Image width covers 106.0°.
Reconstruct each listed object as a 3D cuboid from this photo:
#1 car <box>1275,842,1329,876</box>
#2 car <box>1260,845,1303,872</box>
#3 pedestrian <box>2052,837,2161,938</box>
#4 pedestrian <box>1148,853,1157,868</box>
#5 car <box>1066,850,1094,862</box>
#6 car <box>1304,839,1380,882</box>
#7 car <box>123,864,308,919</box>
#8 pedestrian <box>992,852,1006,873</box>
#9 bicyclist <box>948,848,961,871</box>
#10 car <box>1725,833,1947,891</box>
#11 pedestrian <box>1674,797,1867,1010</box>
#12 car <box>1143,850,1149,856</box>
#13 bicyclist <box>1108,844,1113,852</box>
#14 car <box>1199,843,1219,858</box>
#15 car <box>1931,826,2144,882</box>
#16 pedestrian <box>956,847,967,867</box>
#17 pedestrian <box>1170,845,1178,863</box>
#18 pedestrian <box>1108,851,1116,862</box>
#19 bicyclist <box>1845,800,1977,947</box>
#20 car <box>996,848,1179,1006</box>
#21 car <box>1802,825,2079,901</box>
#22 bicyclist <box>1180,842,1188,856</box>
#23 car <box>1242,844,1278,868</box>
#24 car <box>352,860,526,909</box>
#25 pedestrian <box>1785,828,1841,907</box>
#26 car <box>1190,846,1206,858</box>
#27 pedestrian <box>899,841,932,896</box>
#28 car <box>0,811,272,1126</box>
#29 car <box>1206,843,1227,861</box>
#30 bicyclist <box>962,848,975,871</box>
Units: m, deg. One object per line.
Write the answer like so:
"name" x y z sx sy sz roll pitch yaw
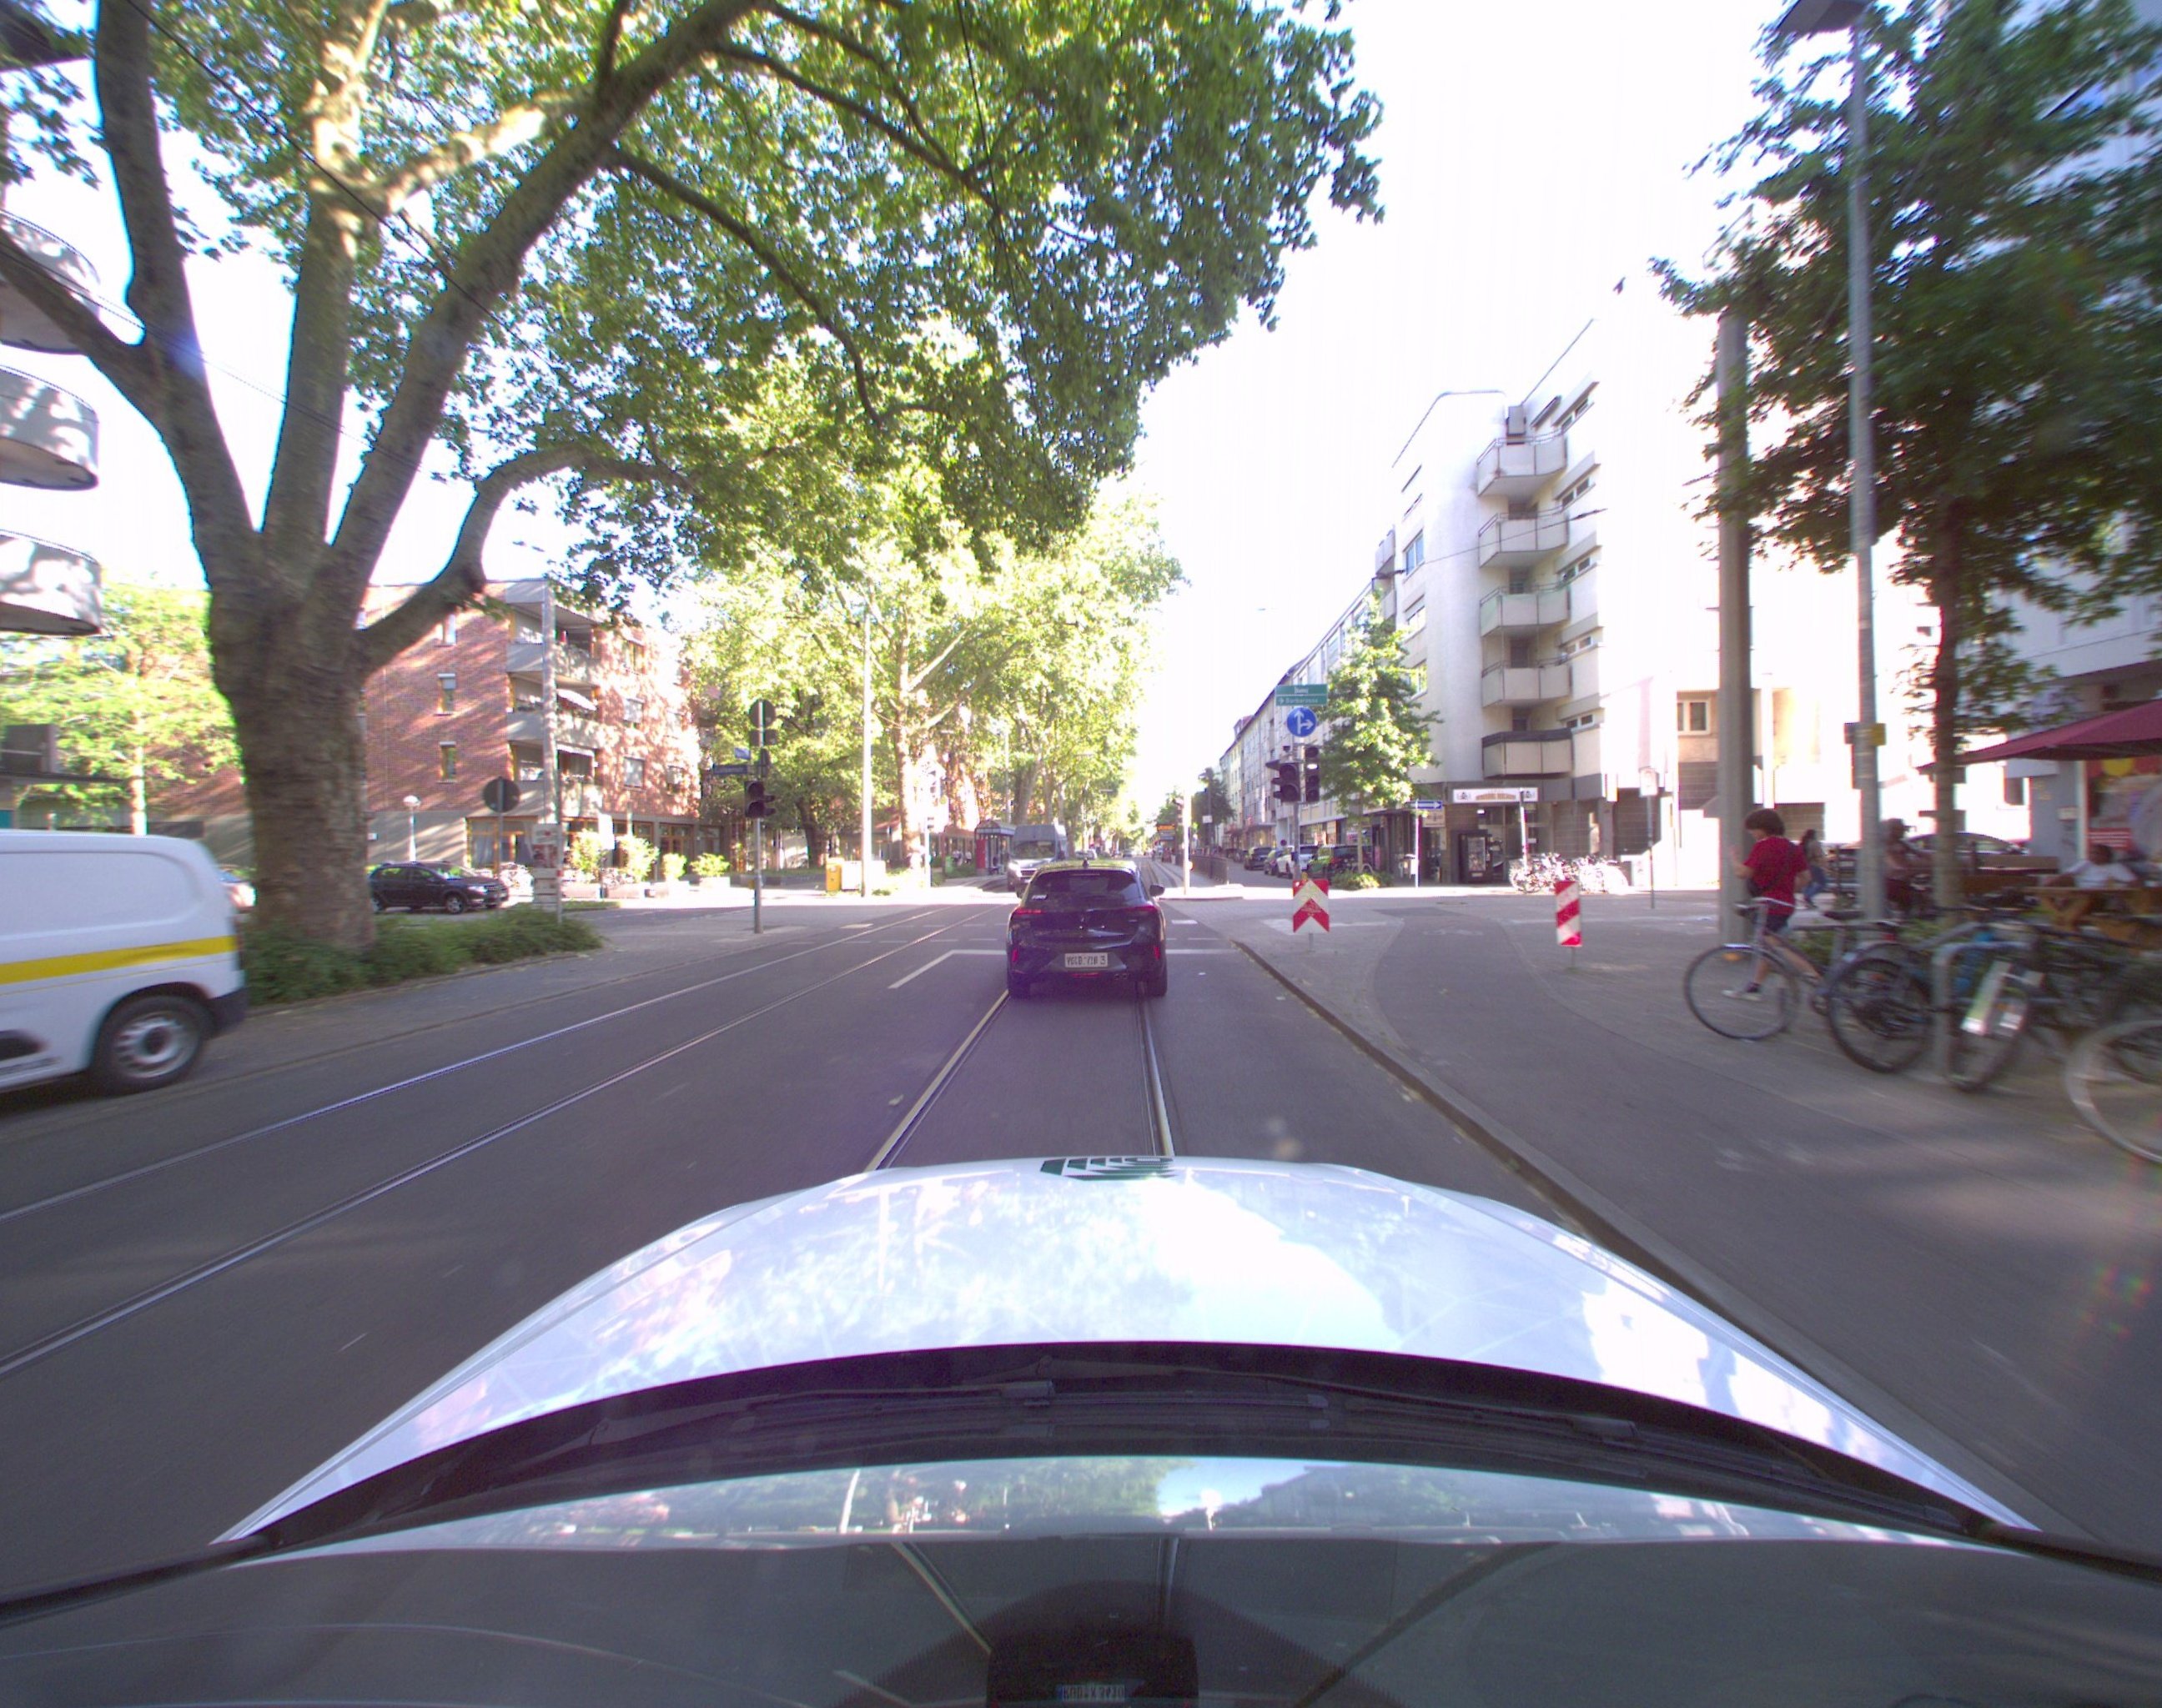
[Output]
"car" 11.053 0.232 41.014 1.791 1.606 4.420 0 0 4
"car" 11.417 0.256 46.643 1.736 1.440 4.252 0 0 4
"pedestrian" 13.508 0.426 10.744 0.533 1.287 0.716 0 -1 5
"pedestrian" 7.966 0.718 90.450 0.742 1.709 0.768 -1 -1 39
"car" -0.122 0.267 121.835 4.105 1.701 1.881 0 0 -3
"car" 10.738 0.270 33.804 1.984 1.615 4.450 -2 0 4
"car" -28.065 1.192 26.500 3.970 1.662 1.962 -1 0 3
"pedestrian" -4.616 0.461 45.848 0.703 1.168 0.659 -2 -1 1
"bicyclist" -9.598 0.394 61.724 0.771 1.750 0.998 0 -1 2
"car" 21.642 0.207 23.509 4.564 1.477 1.874 -1 2 4
"pedestrian" 6.107 0.411 7.294 0.871 1.758 1.050 0 -1 6
"car" 18.332 -0.260 230.137 1.738 1.544 4.003 0 0 3
"bicyclist" 5.914 -1.201 163.709 0.936 1.703 1.155 0 0 7
"car" 15.315 -0.373 97.897 1.985 1.797 4.004 0 0 3
"car" 27.188 0.006 23.251 3.971 1.509 1.708 0 0 2
"pedestrian" -10.245 0.248 69.678 0.732 1.672 0.862 0 -1 4
"pedestrian" 8.120 0.001 71.277 0.628 1.576 0.872 1 0 4
"pedestrian" 4.730 0.370 123.415 1.160 1.748 0.957 0 -1 -1
"bicyclist" 10.142 0.229 9.993 0.673 1.717 0.967 0 -1 6
"car" 0.130 0.723 9.826 1.753 1.508 3.685 -1 0 2
"car" 19.067 0.205 18.213 4.238 1.592 1.965 0 -1 -3
"bicyclist" 13.342 -0.642 105.267 0.859 1.759 1.052 0 -1 -2
"car" 12.523 0.175 57.106 1.849 1.615 4.403 0 0 4
"car" -20.421 0.952 26.023 3.970 1.508 2.001 0 0 3
"pedestrian" 14.654 0.274 16.316 0.548 1.562 0.646 0 -1 8
"car" 15.822 -0.260 110.265 1.984 1.486 4.005 0 0 4
"pedestrian" -5.693 0.481 28.010 0.921 1.835 0.920 0 2 0
"car" -7.251 0.675 4.185 1.756 1.850 4.320 0 0 2
"car" 15.194 -0.176 91.476 1.985 1.952 4.004 0 0 3
"bicyclist" -8.551 0.426 61.997 0.779 1.763 0.951 0 -1 1
